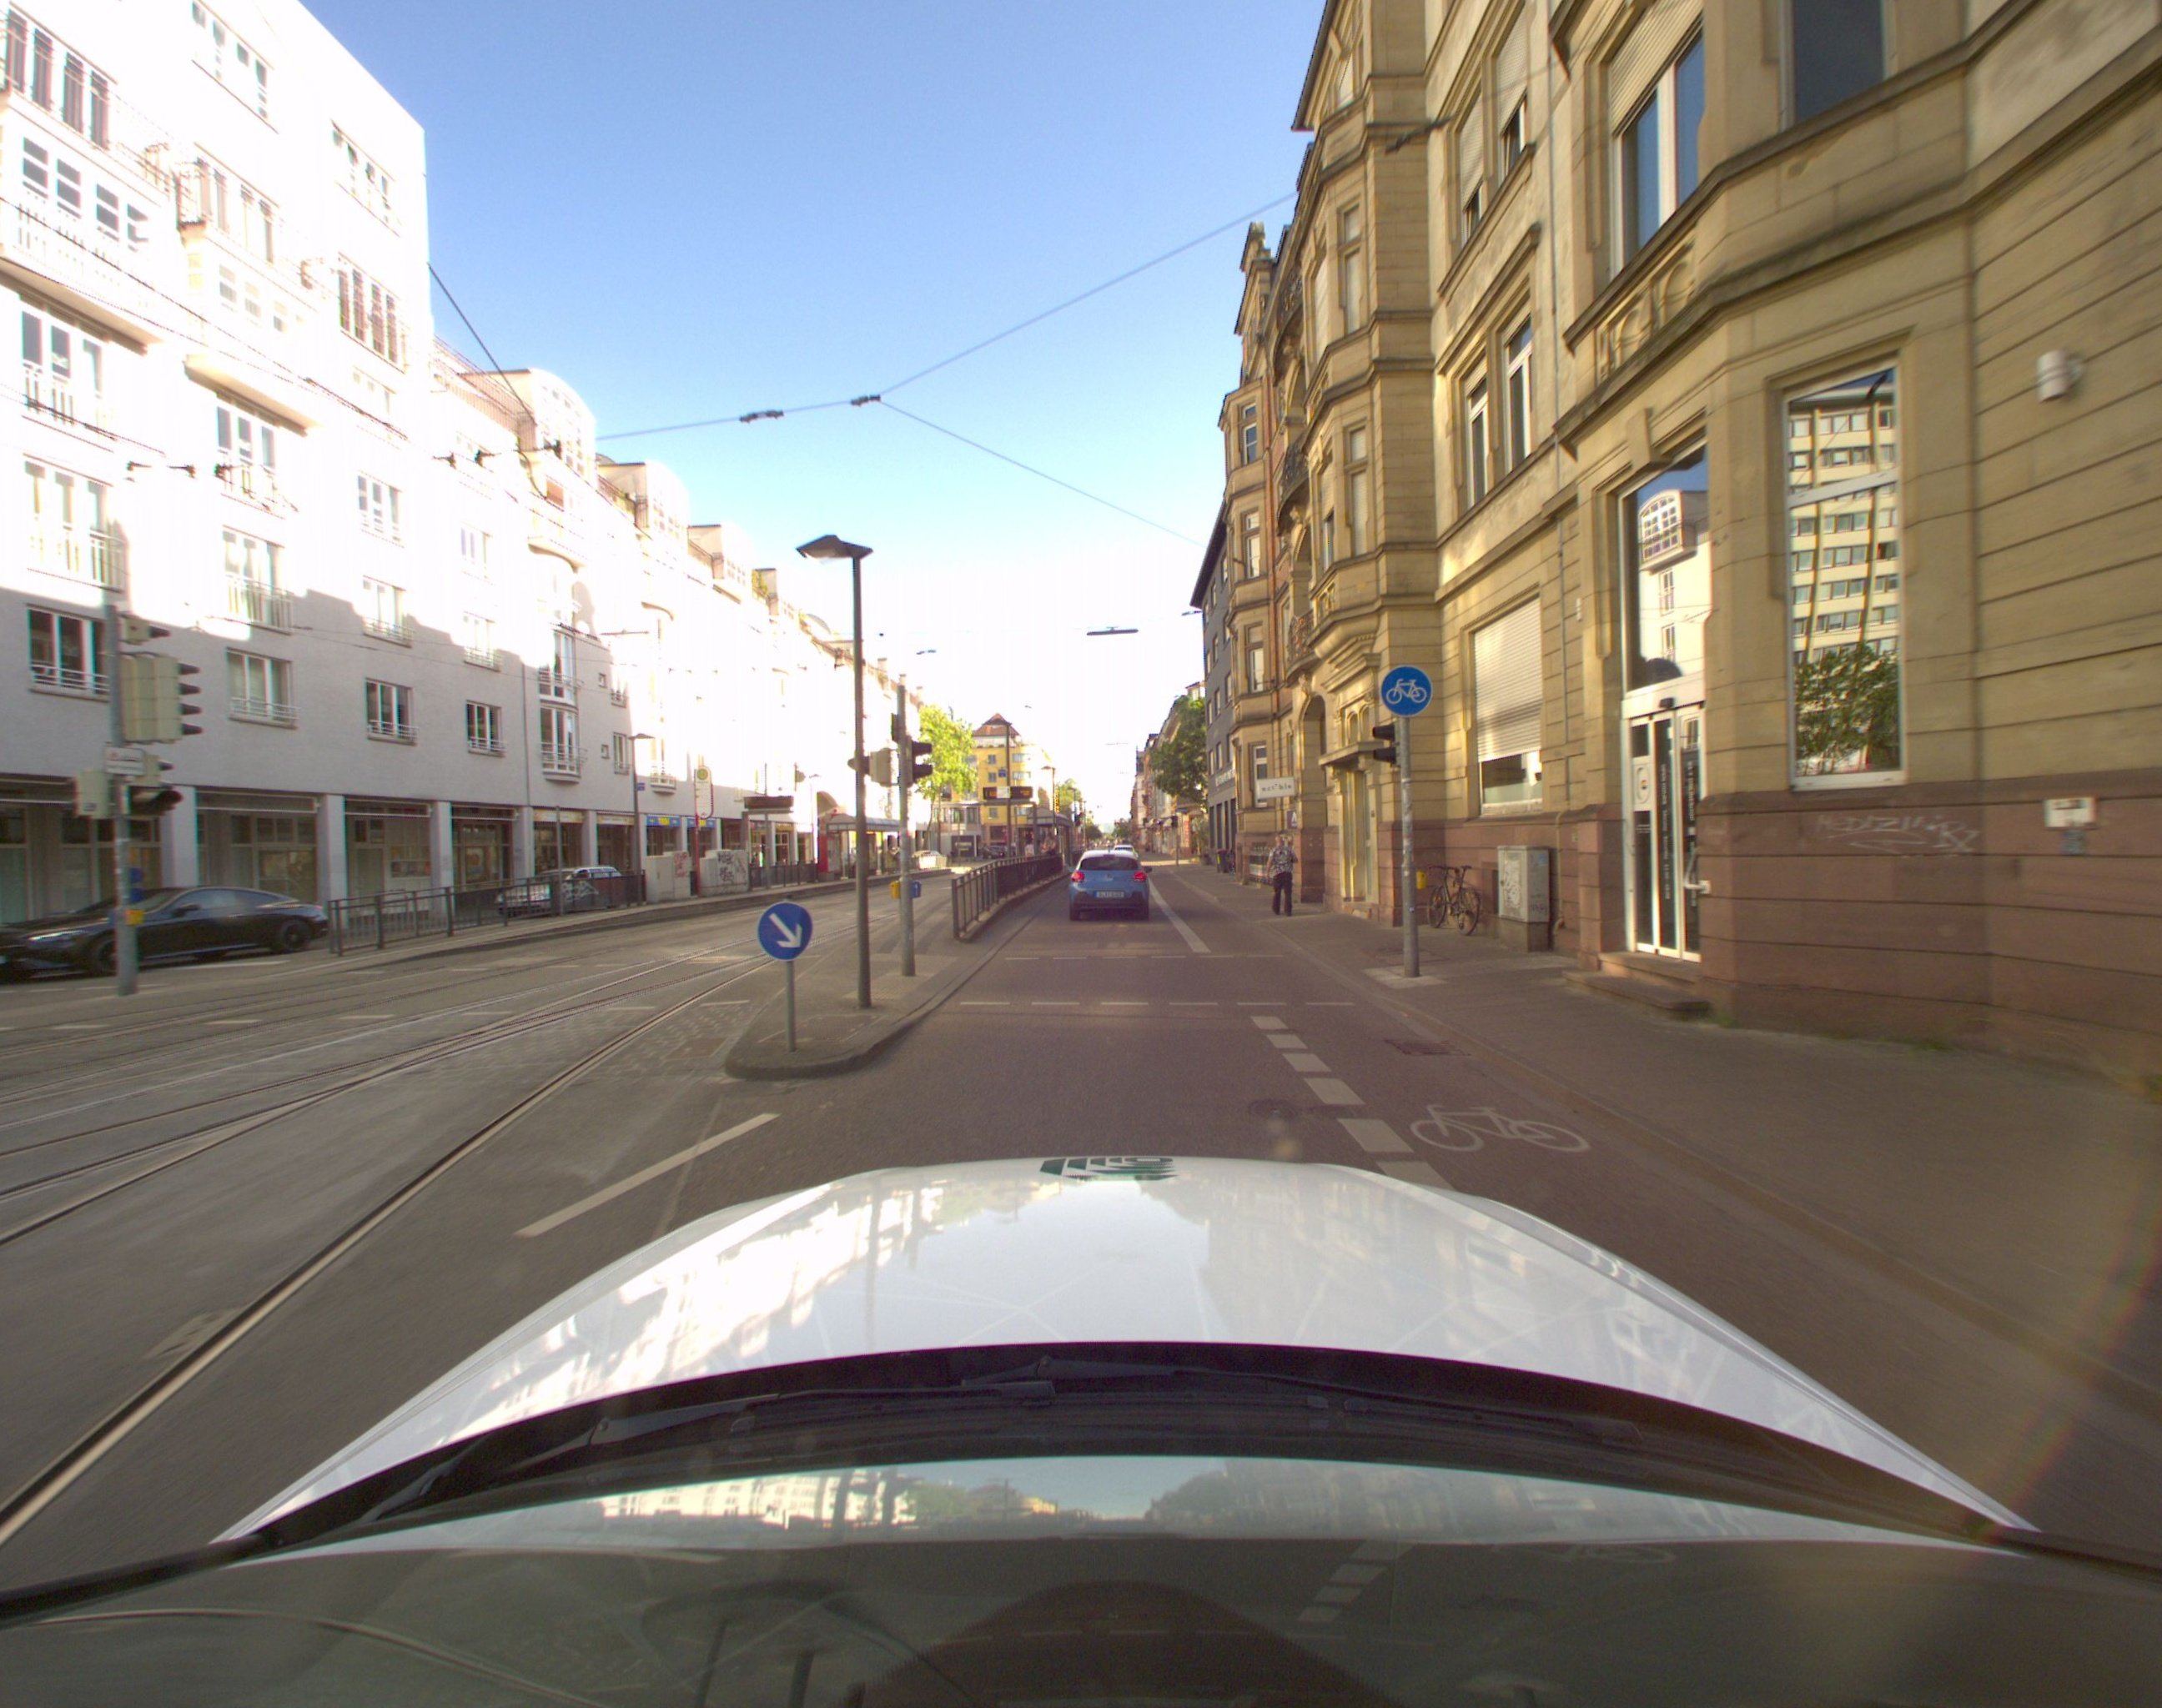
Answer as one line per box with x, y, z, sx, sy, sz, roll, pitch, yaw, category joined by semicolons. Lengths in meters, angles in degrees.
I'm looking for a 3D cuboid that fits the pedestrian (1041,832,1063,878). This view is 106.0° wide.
-1.083;0.044;30.362;0.632;1.698;0.936;-1;-1;10;pedestrian

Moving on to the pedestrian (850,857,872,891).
-10.350;0.940;38.326;0.728;1.527;0.743;-2;1;1;pedestrian

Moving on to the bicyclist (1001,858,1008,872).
-8.724;1.300;93.172;0.669;1.557;0.779;-2;1;3;bicyclist

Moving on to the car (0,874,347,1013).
-16.422;1.423;14.576;2.219;1.911;4.611;-2;0;2;car

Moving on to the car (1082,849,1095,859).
1.301;0.004;143.498;1.942;1.486;4.006;-3;1;5;car

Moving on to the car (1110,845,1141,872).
2.959;0.290;54.630;1.985;1.742;4.003;-1;0;3;car

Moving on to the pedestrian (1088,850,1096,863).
1.399;0.271;105.206;0.842;1.654;0.691;-2;1;-26;pedestrian

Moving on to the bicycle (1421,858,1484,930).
5.802;0.589;12.805;0.254;1.052;1.770;-1;0;3;bicycle

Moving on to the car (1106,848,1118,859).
5.359;-0.079;140.100;1.985;1.742;4.003;-1;0;3;car

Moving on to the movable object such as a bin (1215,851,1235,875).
6.575;0.403;37.184;0.745;1.036;0.754;-6;0;3;movable object such as a bin

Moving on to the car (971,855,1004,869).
-11.711;0.985;102.213;3.975;1.674;1.957;-2;1;-1;car

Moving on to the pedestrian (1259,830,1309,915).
4.384;0.372;17.646;0.777;1.749;1.093;-2;2;0;pedestrian

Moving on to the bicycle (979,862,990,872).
-11.020;1.480;93.239;0.676;1.002;2.689;-2;1;4;bicycle

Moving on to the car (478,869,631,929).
-16.101;1.319;25.244;1.722;1.514;4.406;-2;0;2;car

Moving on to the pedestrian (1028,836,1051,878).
-1.803;0.142;35.546;0.710;1.777;0.569;-2;1;38;pedestrian

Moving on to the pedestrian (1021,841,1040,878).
-2.183;0.227;34.968;0.579;1.561;0.473;-2;1;38;pedestrian

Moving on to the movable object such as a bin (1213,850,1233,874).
6.622;0.368;37.952;0.745;1.036;0.754;-6;0;3;movable object such as a bin

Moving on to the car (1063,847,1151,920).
0.626;0.591;18.342;1.774;1.450;3.657;-1;1;3;car

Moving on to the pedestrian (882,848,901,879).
-9.861;0.488;42.381;0.728;1.559;0.743;-2;1;1;pedestrian

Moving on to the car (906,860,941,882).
-11.853;1.262;61.548;1.684;1.421;3.650;-2;1;3;car

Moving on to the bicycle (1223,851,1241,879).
6.327;0.446;34.215;0.457;1.123;1.775;-3;0;3;bicycle

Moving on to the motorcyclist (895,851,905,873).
-12.673;0.578;56.915;0.485;1.502;0.723;-1;-1;3;motorcyclist
